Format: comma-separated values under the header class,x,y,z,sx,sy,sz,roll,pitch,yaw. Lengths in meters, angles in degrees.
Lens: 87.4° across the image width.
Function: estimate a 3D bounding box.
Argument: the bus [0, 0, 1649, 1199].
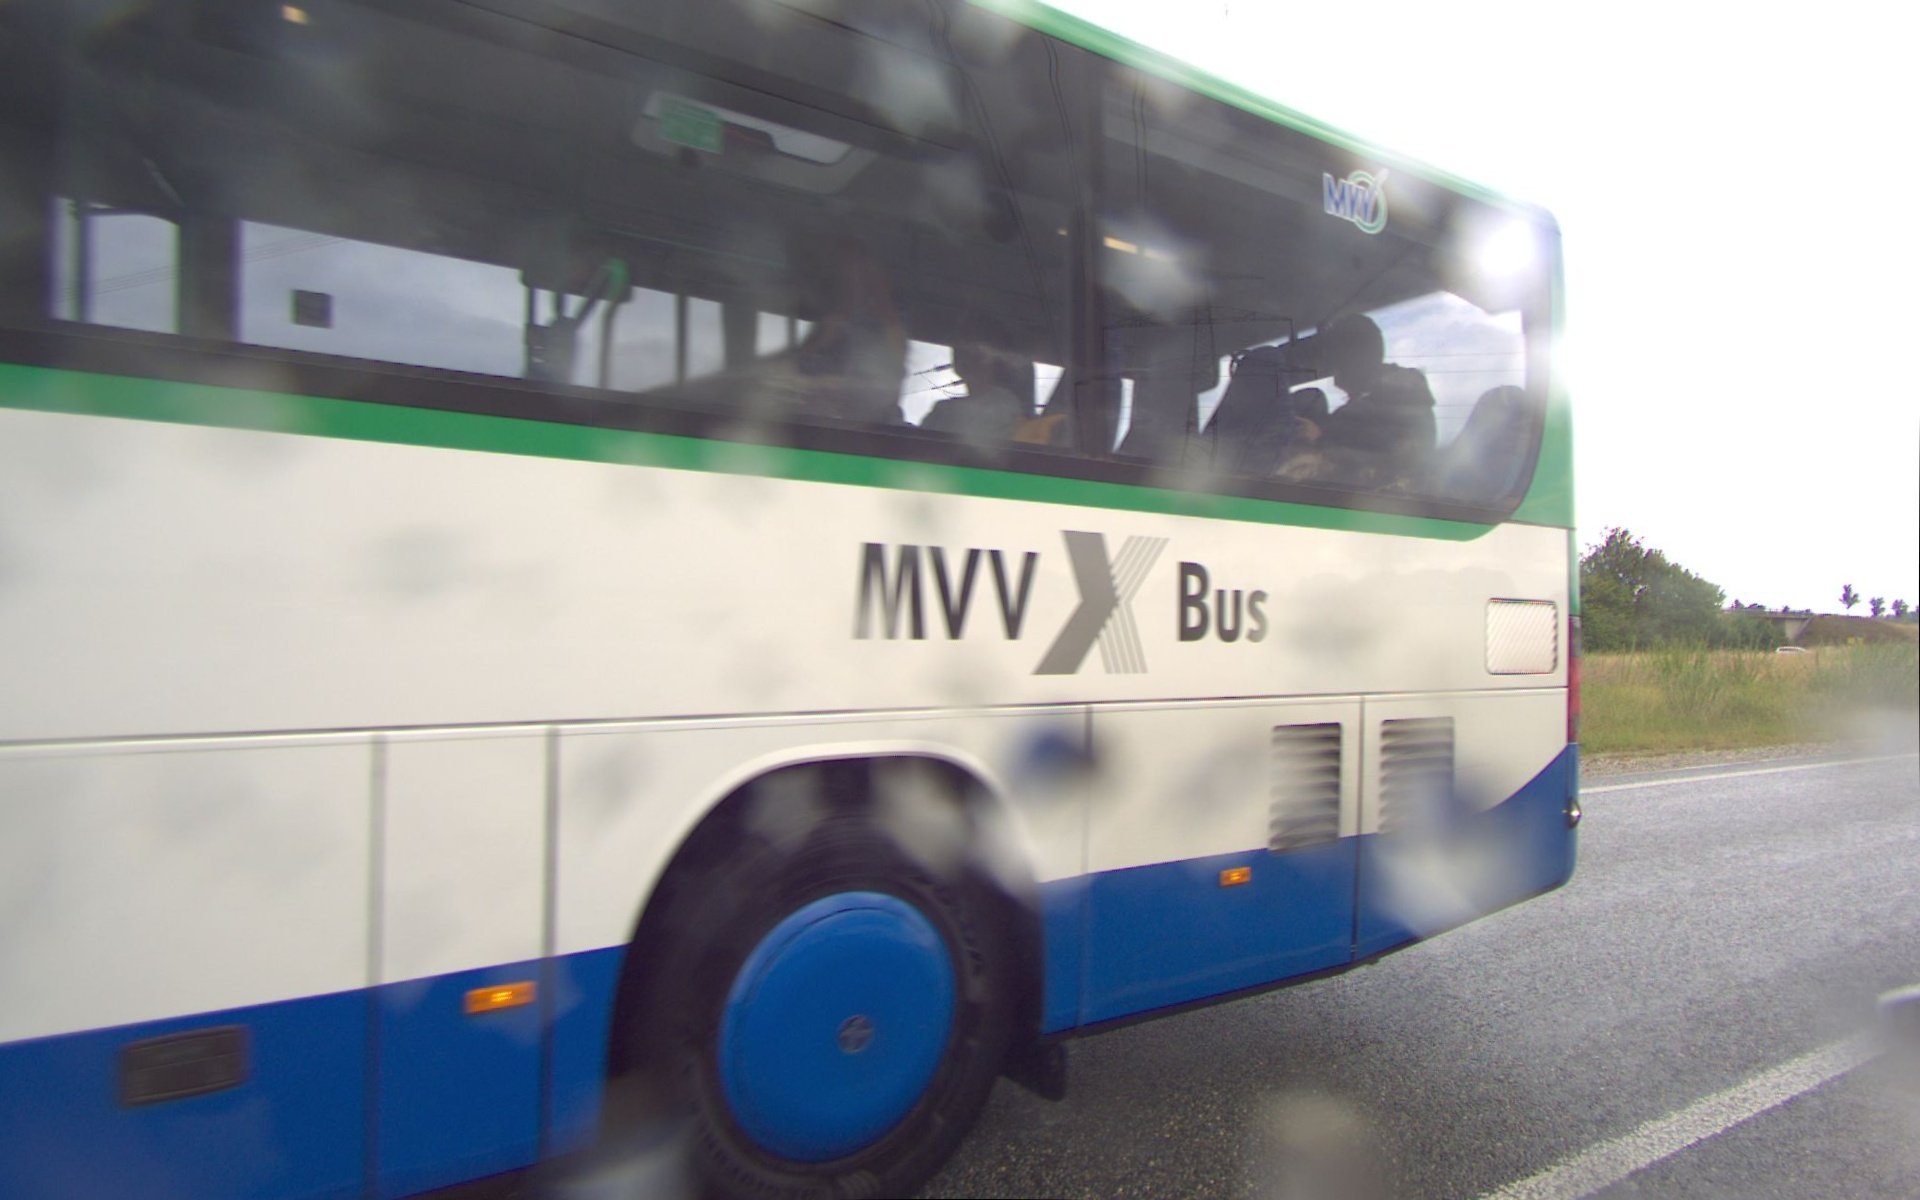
class,x,y,z,sx,sy,sz,roll,pitch,yaw
bus,-3.311,-0.257,1.945,12.357,3.341,2.745,1,-1,-31
